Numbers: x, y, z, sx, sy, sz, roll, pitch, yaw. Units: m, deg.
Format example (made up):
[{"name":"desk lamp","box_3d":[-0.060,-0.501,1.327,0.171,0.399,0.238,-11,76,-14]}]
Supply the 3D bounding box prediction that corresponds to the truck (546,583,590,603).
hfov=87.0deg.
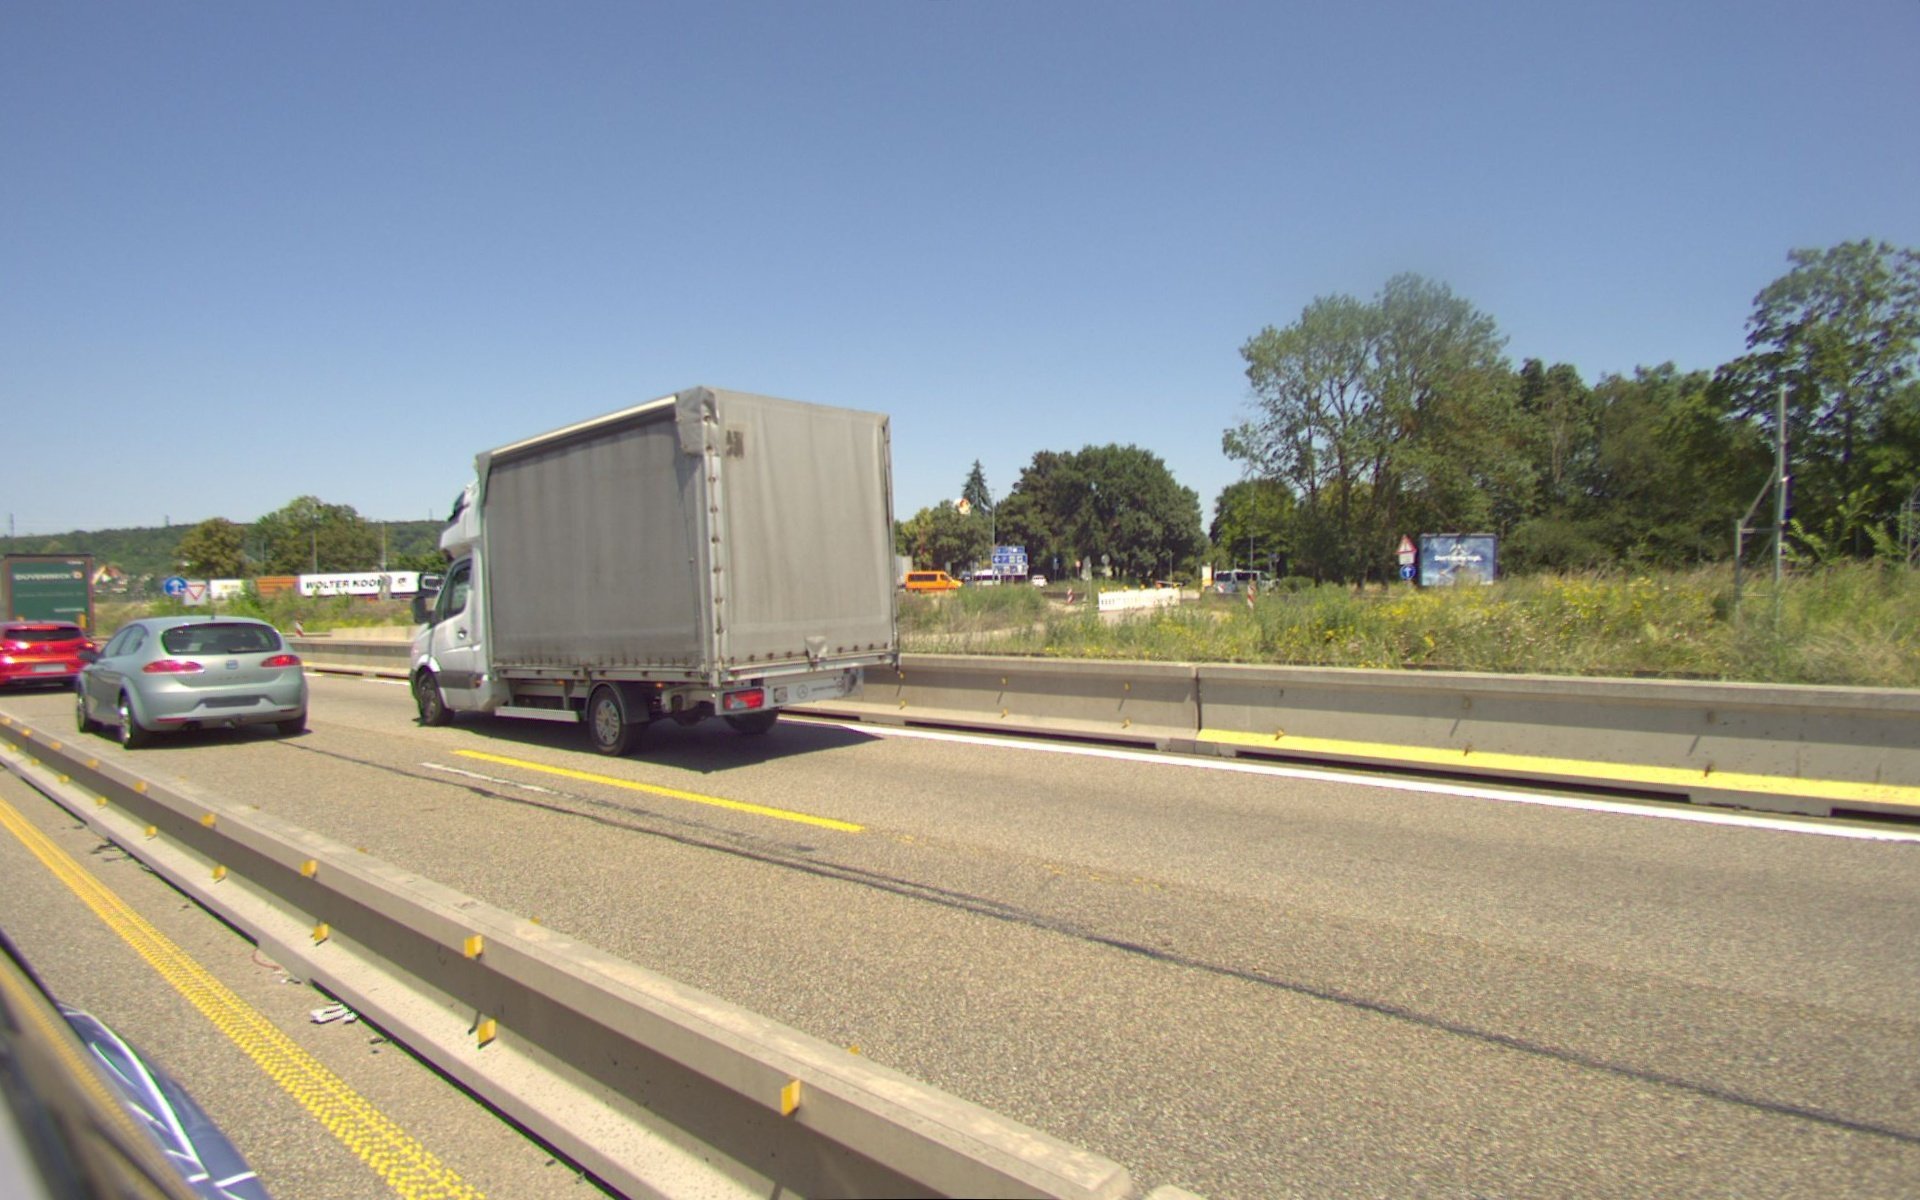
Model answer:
[{"name":"truck","box_3d":[-56.776,-1.065,146.562,7.775,2.624,2.515,-2,1,42]}]

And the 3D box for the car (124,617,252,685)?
[{"name":"car","box_3d":[-18.505,1.173,24.213,3.782,1.459,1.607,-1,0,40]}]

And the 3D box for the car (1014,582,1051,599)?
[{"name":"car","box_3d":[8.214,-1.104,115.145,3.938,1.847,1.745,-1,0,-6]}]

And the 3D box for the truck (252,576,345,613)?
[{"name":"truck","box_3d":[-89.309,-0.749,136.845,9.741,4.250,3.590,-4,2,-6]}]

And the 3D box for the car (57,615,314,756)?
[{"name":"car","box_3d":[-9.696,0.939,12.548,4.198,1.439,1.665,-1,-1,40]}]

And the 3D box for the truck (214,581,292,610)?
[{"name":"truck","box_3d":[-103.601,-0.749,148.494,9.017,3.568,2.696,-4,2,-6]}]

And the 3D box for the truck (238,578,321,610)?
[{"name":"truck","box_3d":[-94.587,-0.910,140.831,9.134,3.701,2.867,-4,3,-5]}]

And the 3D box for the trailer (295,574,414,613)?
[{"name":"trailer","box_3d":[-74.574,-0.818,124.808,12.559,3.812,2.624,-4,2,-5]}]

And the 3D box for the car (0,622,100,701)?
[{"name":"car","box_3d":[-18.918,1.188,20.521,3.997,1.445,1.632,-1,-1,40]}]

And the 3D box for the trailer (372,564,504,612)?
[{"name":"trailer","box_3d":[-55.754,-1.344,108.358,12.191,4.196,2.864,-4,2,-4]}]

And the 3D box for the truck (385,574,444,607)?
[{"name":"truck","box_3d":[-67.563,-1.172,125.509,5.647,3.644,2.586,-4,2,-8]}]

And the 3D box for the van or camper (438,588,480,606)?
[{"name":"van or camper","box_3d":[-83.897,-0.508,169.437,8.583,2.754,2.728,-1,0,37]}]

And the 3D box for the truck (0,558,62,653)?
[{"name":"truck","box_3d":[-44.556,0.291,47.391,6.280,4.235,2.975,-2,0,41]}]

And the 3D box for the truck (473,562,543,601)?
[{"name":"truck","box_3d":[-48.607,-1.983,108.914,6.053,3.777,2.837,-4,2,-5]}]

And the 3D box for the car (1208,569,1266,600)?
[{"name":"car","box_3d":[19.698,-1.125,71.961,3.936,2.028,2.004,-3,1,-38]}]

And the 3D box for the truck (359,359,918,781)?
[{"name":"truck","box_3d":[-4.130,-0.200,11.605,7.710,3.410,2.365,-1,0,41]}]

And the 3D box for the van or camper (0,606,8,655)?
[{"name":"van or camper","box_3d":[-60.820,1.927,62.449,7.822,2.939,2.410,-1,0,43]}]

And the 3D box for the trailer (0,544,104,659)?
[{"name":"trailer","box_3d":[-39.592,0.173,42.980,13.845,4.230,2.975,-2,0,42]}]

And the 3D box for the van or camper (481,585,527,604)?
[{"name":"van or camper","box_3d":[-71.719,-0.810,159.064,8.583,2.754,2.728,-1,0,37]}]
